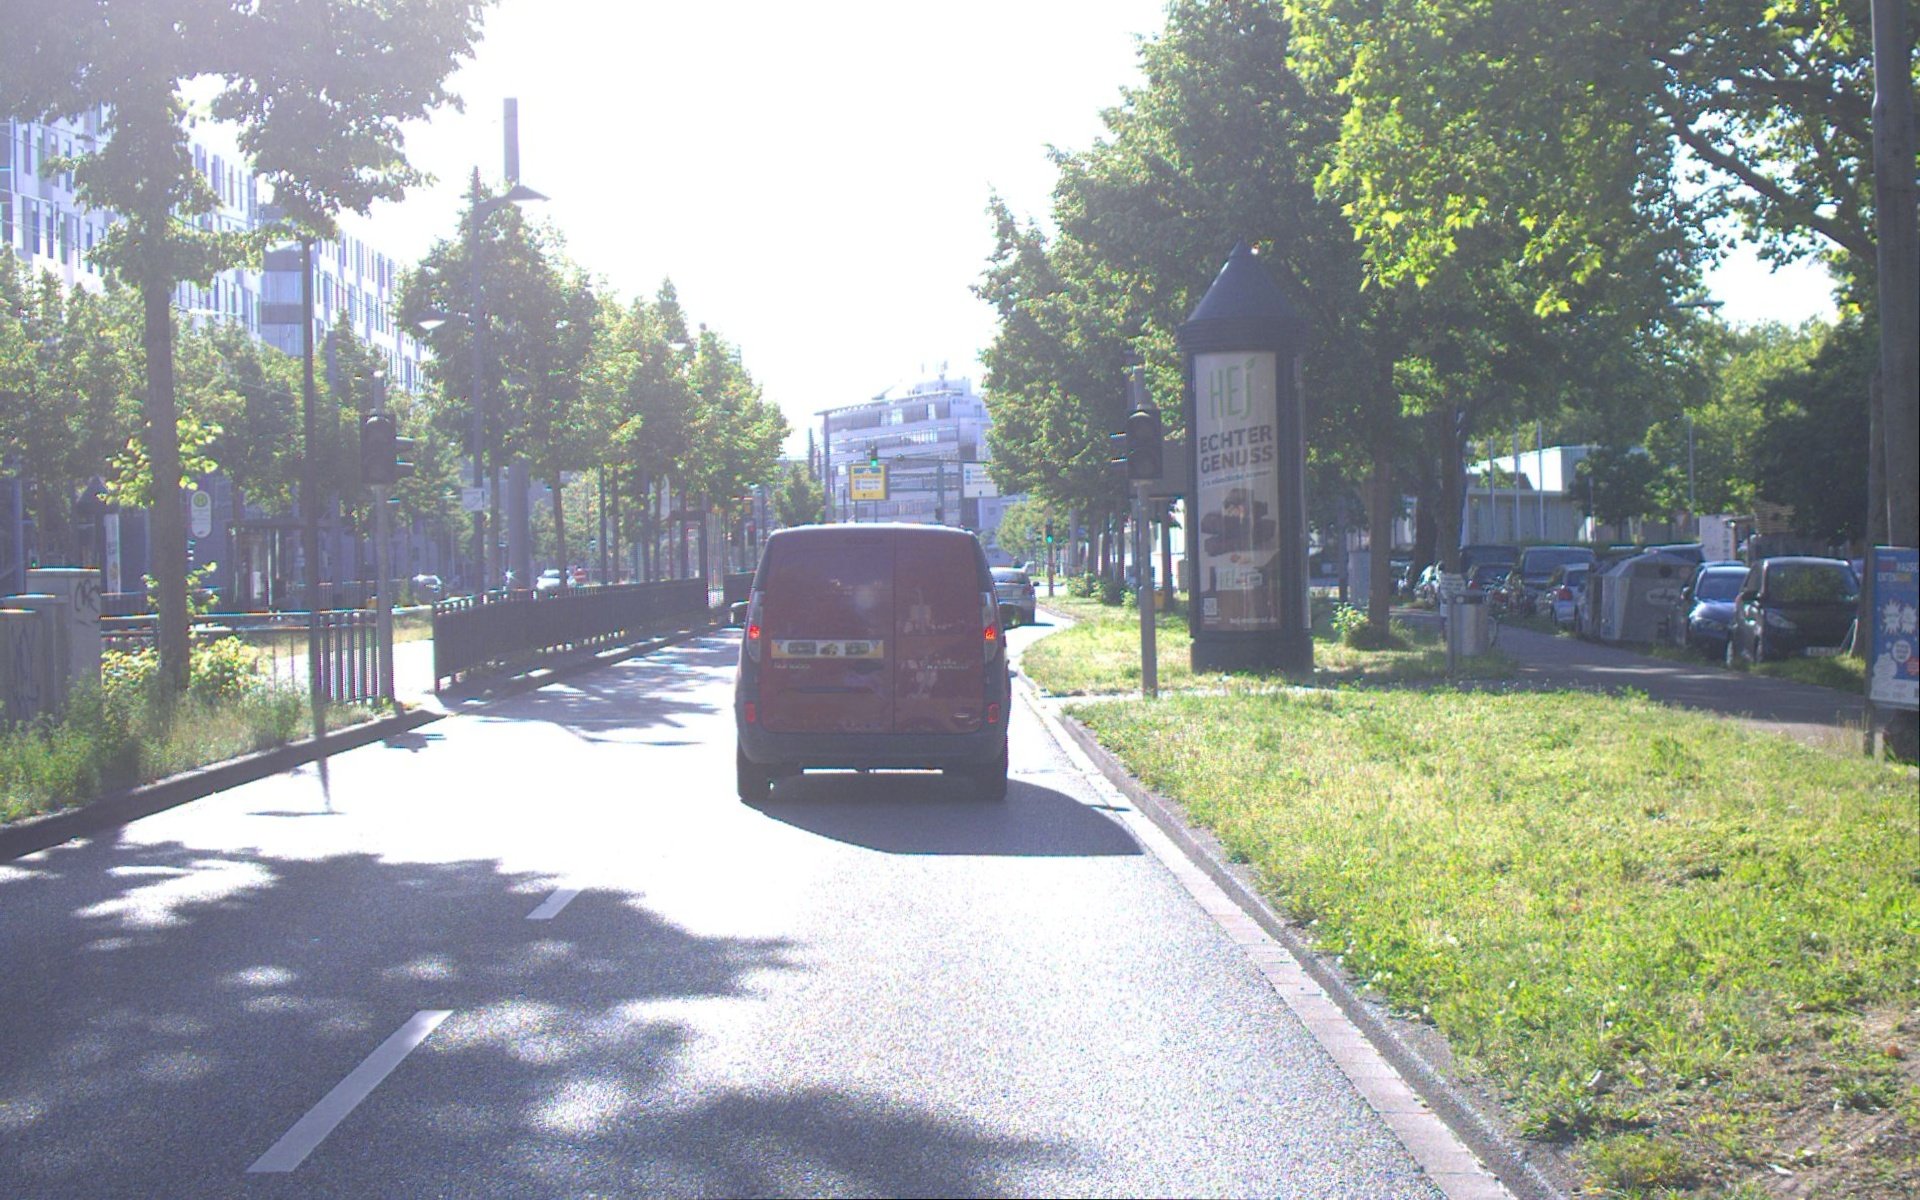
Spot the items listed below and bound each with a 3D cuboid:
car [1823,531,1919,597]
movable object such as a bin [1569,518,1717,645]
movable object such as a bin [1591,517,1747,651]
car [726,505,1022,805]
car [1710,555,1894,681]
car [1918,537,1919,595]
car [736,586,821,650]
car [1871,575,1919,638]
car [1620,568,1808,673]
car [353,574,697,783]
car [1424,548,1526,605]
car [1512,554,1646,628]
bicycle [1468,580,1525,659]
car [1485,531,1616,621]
[{"bbox_3d":[22.252,-0.861,82.594,1.871,1.478,4.690,-3,0,1],"label":"car"},{"bbox_3d":[11.135,-0.292,56.146,2.081,2.007,2.136,1,0,4],"label":"movable object such as a bin"},{"bbox_3d":[10.983,-0.246,53.383,2.081,2.007,2.136,1,0,4],"label":"movable object such as a bin"},{"bbox_3d":[-0.646,0.342,23.267,1.808,1.831,4.000,1,0,-3],"label":"car"},{"bbox_3d":[10.513,0.217,43.088,1.662,1.495,2.989,1,0,2],"label":"car"},{"bbox_3d":[21.062,-0.369,69.887,1.871,1.995,4.690,-2,0,1],"label":"car"},{"bbox_3d":[-4.681,0.457,89.070,1.993,1.612,4.000,1,0,0],"label":"car"},{"bbox_3d":[21.729,0.111,76.912,1.731,1.366,4.312,-3,0,4],"label":"car"},{"bbox_3d":[10.611,0.276,48.684,2.000,1.380,4.743,1,0,5],"label":"car"},{"bbox_3d":[-3.326,0.546,27.294,1.953,1.475,5.084,1,1,2],"label":"car"},{"bbox_3d":[12.769,-0.560,85.430,1.871,1.363,4.000,1,0,-1],"label":"car"},{"bbox_3d":[12.099,-0.174,67.429,1.871,1.384,4.000,1,0,-1],"label":"car"},{"bbox_3d":[7.290,0.258,46.759,0.493,1.043,1.904,1,0,1],"label":"bicycle"},{"bbox_3d":[12.460,-0.485,72.817,1.871,1.814,4.893,1,0,-1],"label":"car"}]
